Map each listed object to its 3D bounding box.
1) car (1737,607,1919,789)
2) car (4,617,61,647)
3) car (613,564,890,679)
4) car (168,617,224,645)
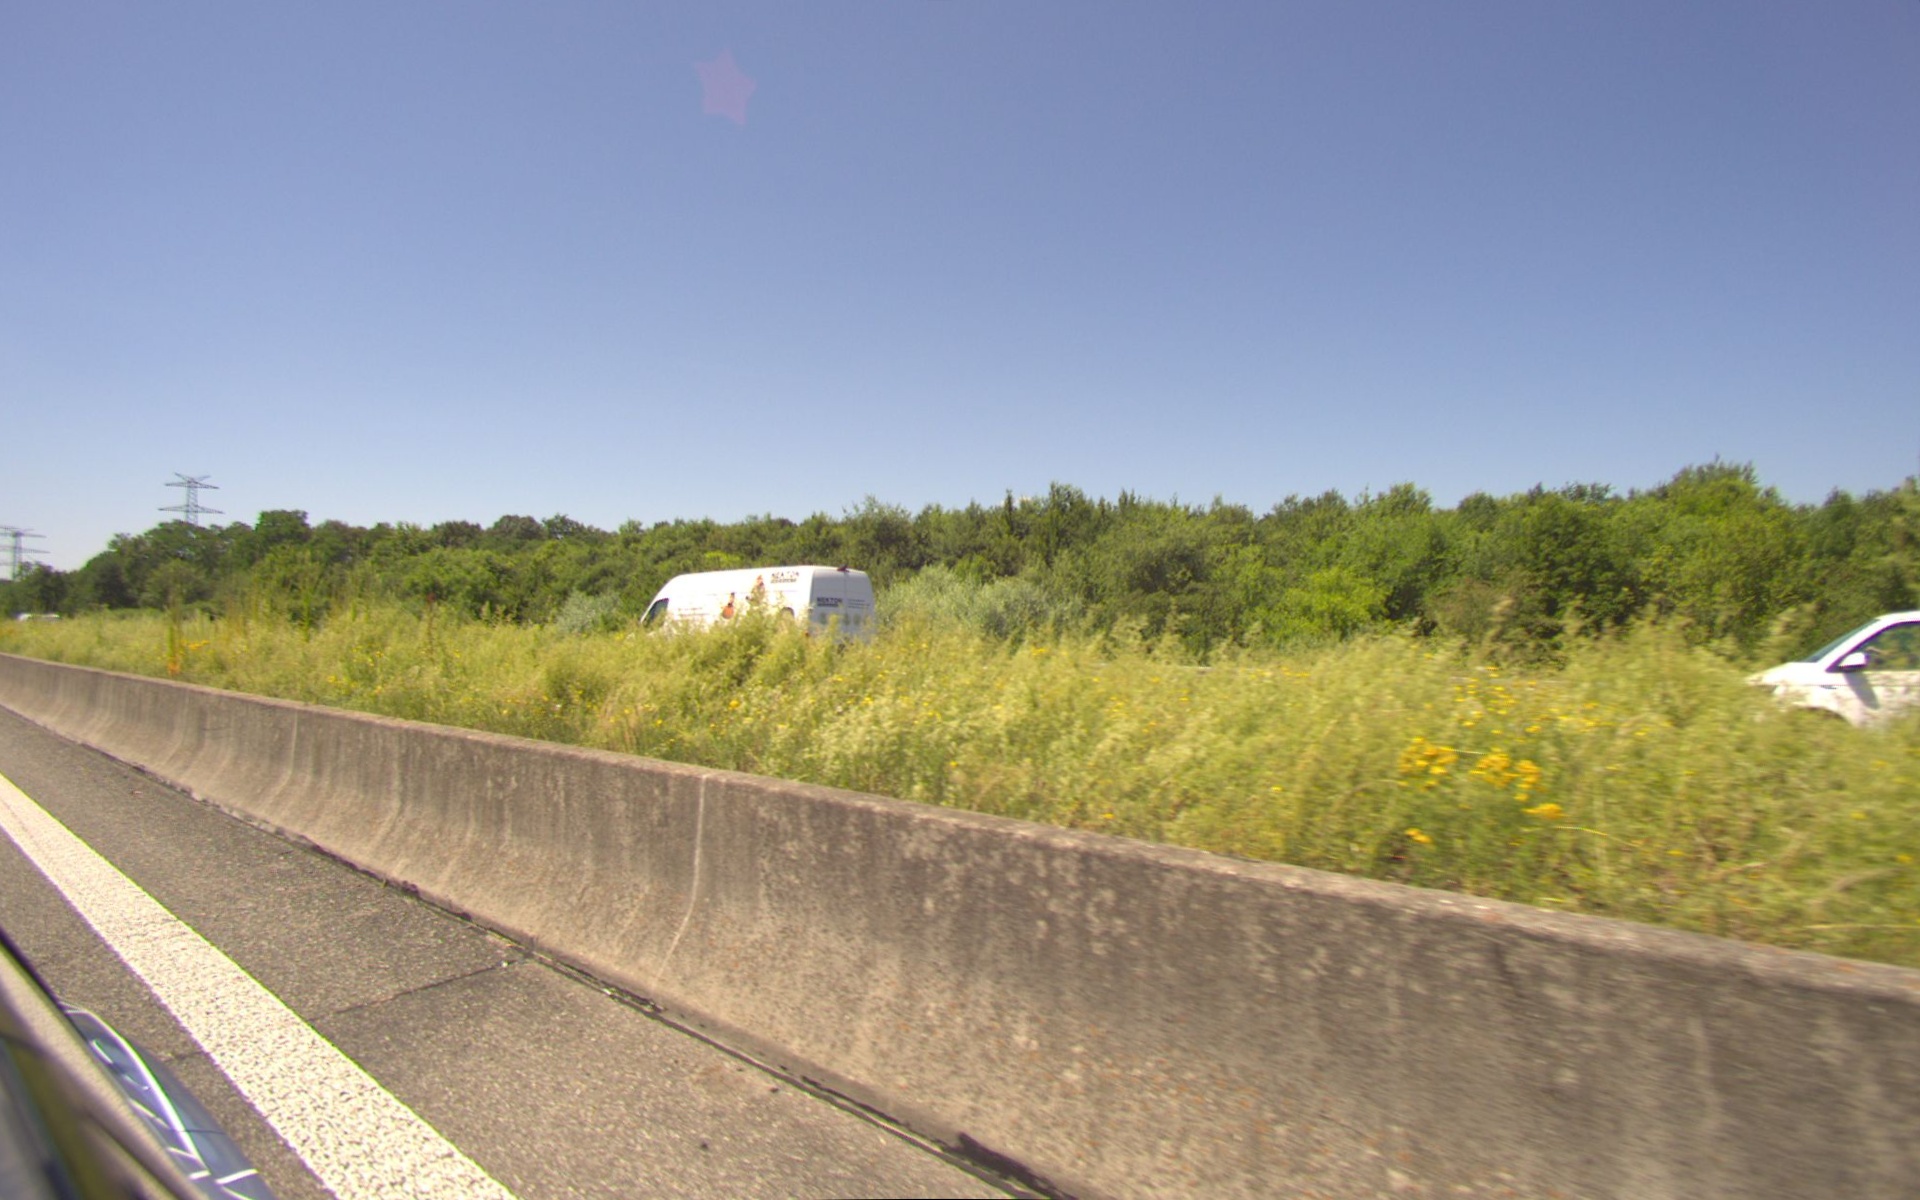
[{"bbox_3d":[12.006,1.082,11.372,5.072,2.029,1.862,-1,-1,41],"label":"car"},{"bbox_3d":[-56.466,1.960,61.582,5.114,1.733,1.973,-2,-2,41],"label":"car"},{"bbox_3d":[-4.472,0.415,20.799,6.553,2.029,1.973,-1,1,41],"label":"car"},{"bbox_3d":[-48.049,1.911,63.623,4.460,1.689,1.941,-1,-1,41],"label":"car"}]
